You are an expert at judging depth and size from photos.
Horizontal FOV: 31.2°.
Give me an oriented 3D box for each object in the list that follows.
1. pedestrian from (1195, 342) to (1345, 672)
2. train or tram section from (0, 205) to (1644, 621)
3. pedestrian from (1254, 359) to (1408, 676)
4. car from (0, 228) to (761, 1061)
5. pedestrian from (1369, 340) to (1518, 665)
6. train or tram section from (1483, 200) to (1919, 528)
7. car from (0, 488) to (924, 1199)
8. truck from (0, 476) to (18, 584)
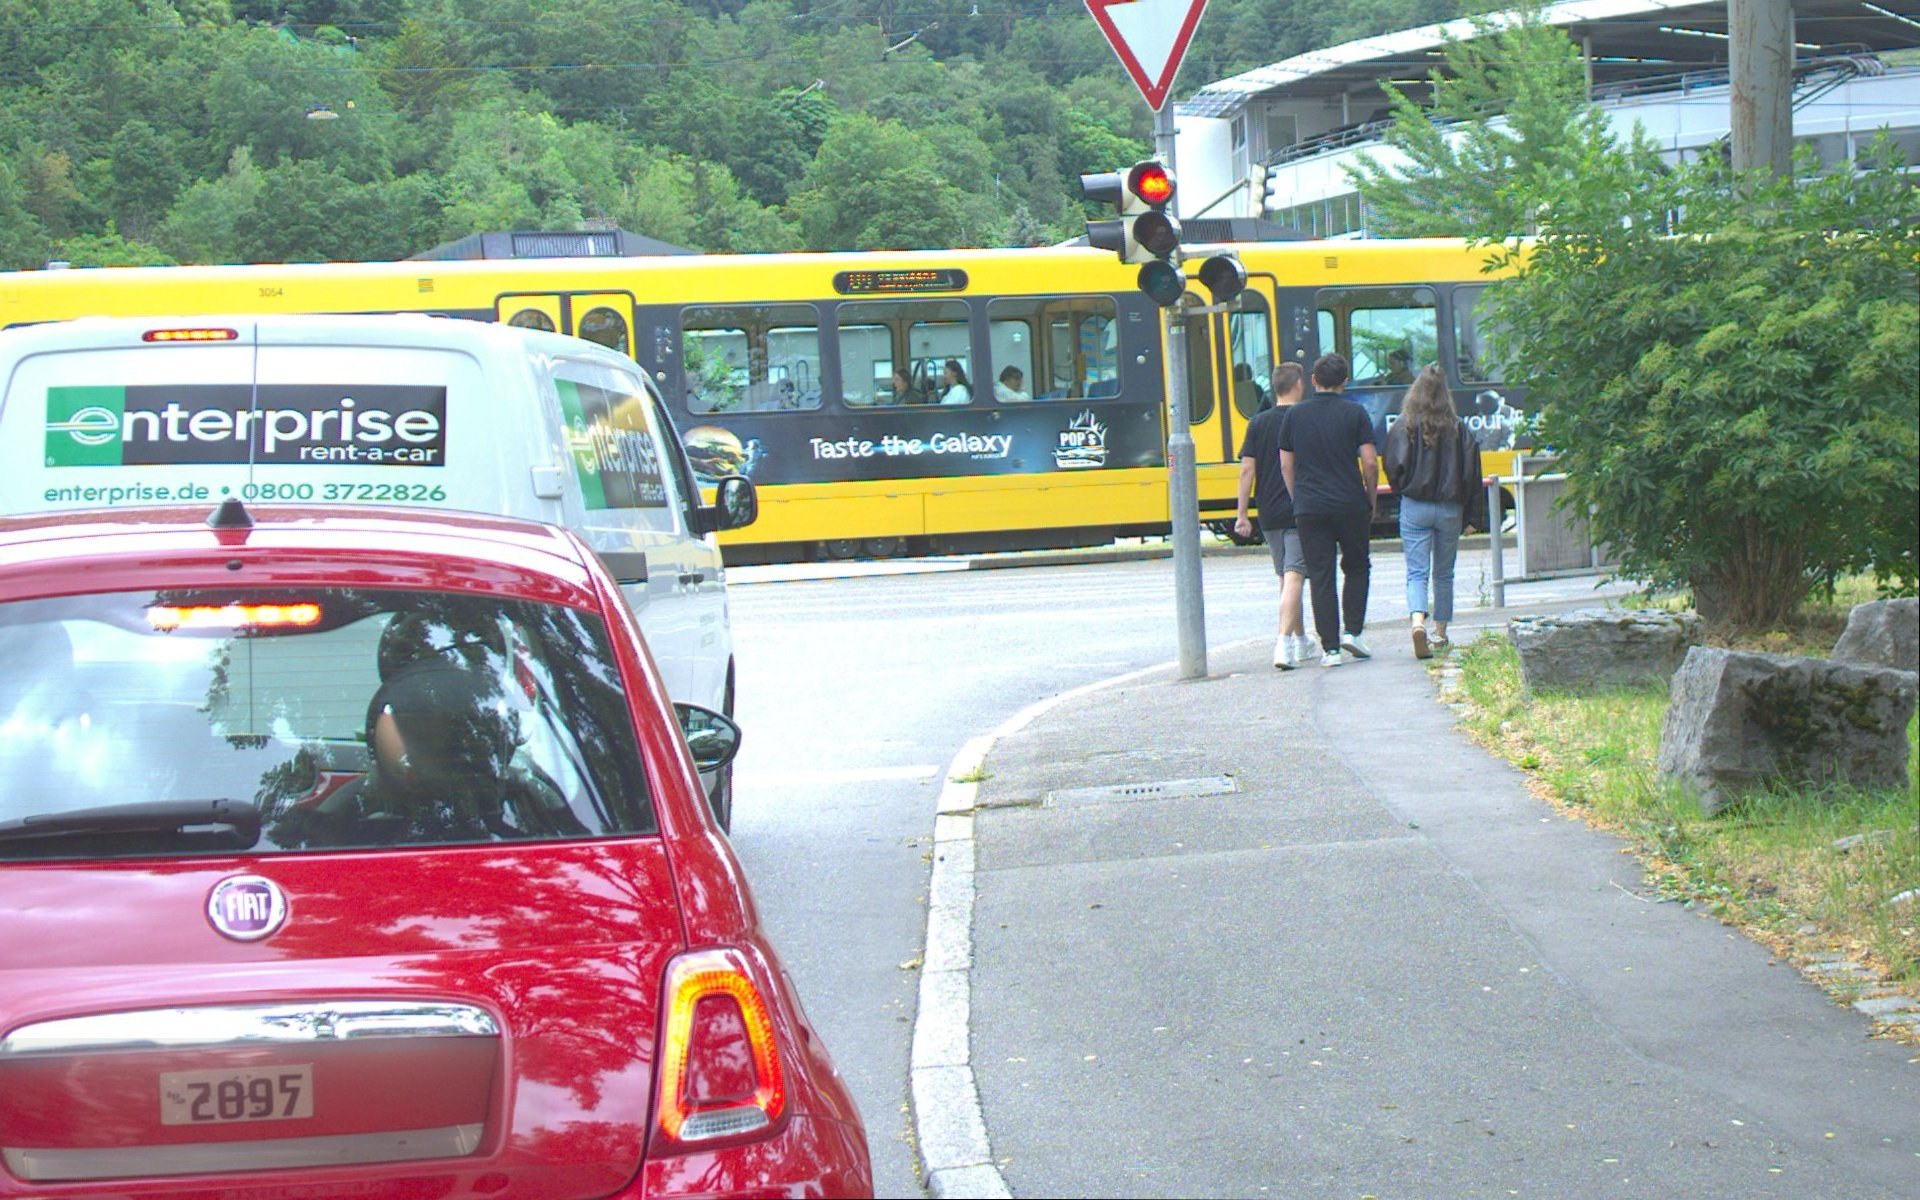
[{"bbox_3d":[1.812,-0.545,20.008,0.693,1.850,0.788,-3,2,12],"label":"pedestrian"},{"bbox_3d":[-1.909,-2.125,37.067,19.107,3.653,3.279,-3,2,-19],"label":"train or tram section"},{"bbox_3d":[2.084,-0.468,19.240,0.693,1.708,0.788,-2,2,13],"label":"pedestrian"},{"bbox_3d":[-1.904,0.036,11.372,1.989,2.099,4.762,-3,2,2],"label":"car"},{"bbox_3d":[2.687,-0.545,19.051,0.693,1.733,0.788,-3,2,12],"label":"pedestrian"},{"bbox_3d":[15.868,-3.205,43.914,19.108,3.653,3.279,-3,2,-22],"label":"train or tram section"},{"bbox_3d":[-1.186,0.577,5.538,1.638,1.451,3.432,-2,2,-11],"label":"car"},{"bbox_3d":[-23.759,-1.435,76.073,5.183,2.385,2.000,-4,3,-28],"label":"truck"}]
